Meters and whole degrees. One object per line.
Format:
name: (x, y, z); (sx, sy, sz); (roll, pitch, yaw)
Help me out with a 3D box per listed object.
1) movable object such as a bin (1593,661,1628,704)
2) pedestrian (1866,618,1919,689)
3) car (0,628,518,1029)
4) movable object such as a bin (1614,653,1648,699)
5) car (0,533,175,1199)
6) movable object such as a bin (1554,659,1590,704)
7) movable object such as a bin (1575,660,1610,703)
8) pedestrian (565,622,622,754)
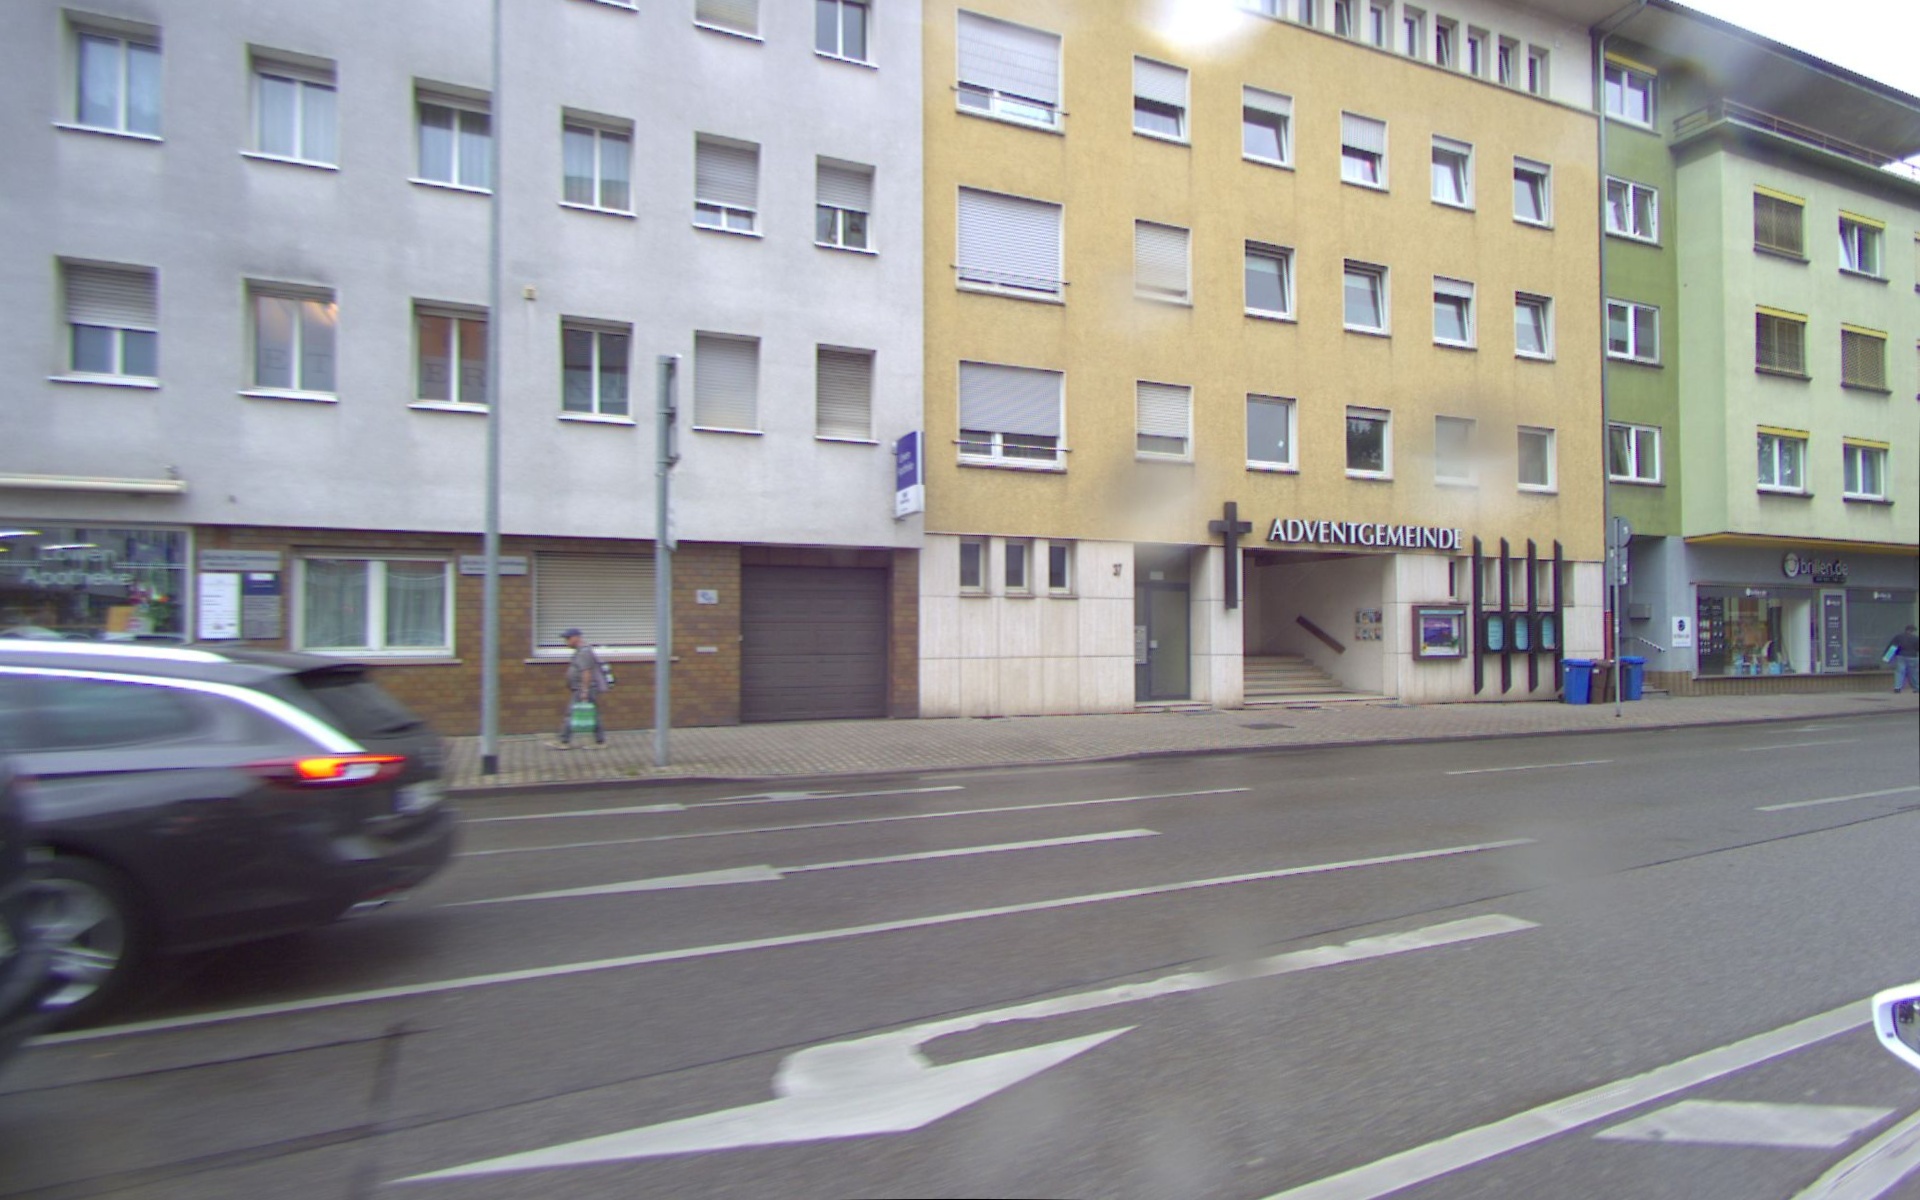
movable object such as a bin: (14.389, 1.822, 22.226); (0.495, 0.912, 0.453); (1, -1, -23)
pedestrian: (24.836, 1.417, 26.670); (0.863, 1.812, 0.863); (1, 1, -24)
car: (-4.435, 0.885, 4.377); (4.325, 1.452, 1.822); (0, -3, -15)
movable object such as a bin: (15.255, 1.727, 22.841); (0.537, 1.019, 0.398); (1, -1, -23)
car: (-4.276, 0.604, 1.627); (4.373, 1.629, 1.815); (2, -3, -26)
movable object such as a bin: (13.277, 1.757, 21.801); (0.495, 0.942, 0.453); (1, -1, -23)
movable object such as a bin: (13.850, 1.775, 21.998); (0.495, 0.912, 0.453); (1, -1, -23)
pedestrian: (-4.701, 1.098, 12.856); (0.642, 1.602, 0.685); (1, 1, -23)
